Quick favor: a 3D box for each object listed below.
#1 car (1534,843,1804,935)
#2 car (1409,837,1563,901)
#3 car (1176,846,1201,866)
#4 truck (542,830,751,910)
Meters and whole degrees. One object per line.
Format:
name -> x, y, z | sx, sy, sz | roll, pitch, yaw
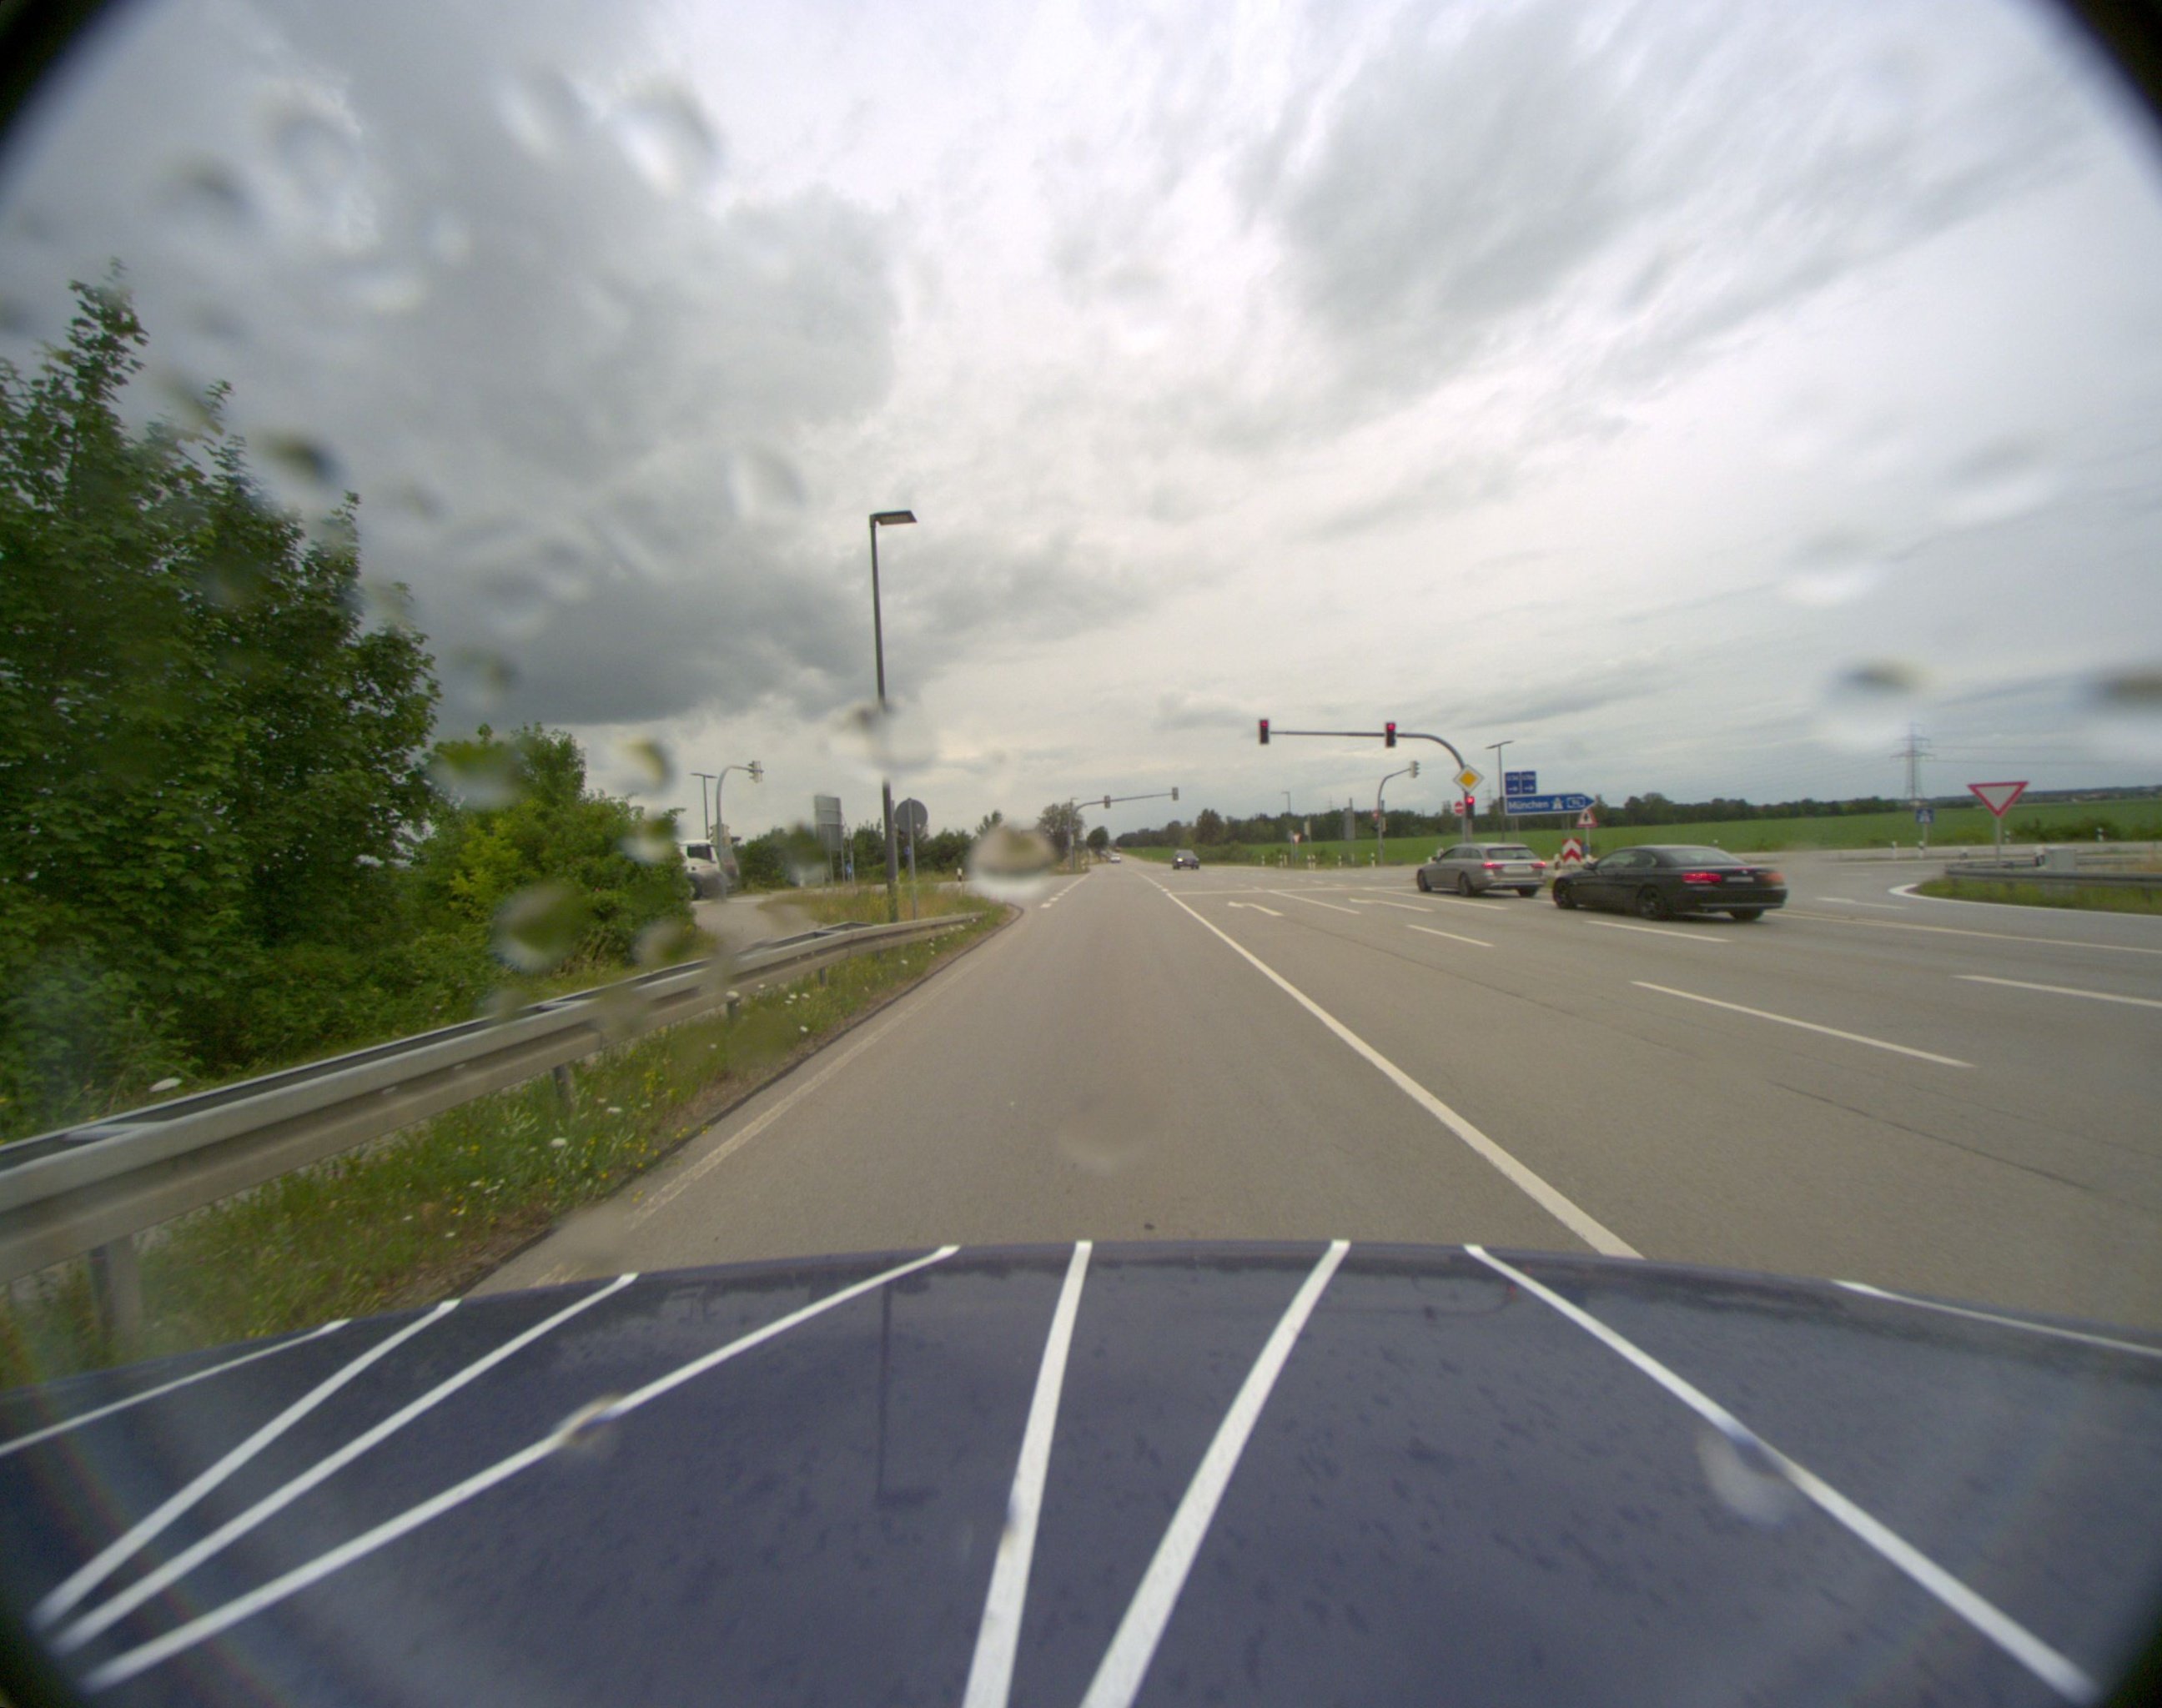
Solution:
car -> 11.004, 0.544, 14.757 | 1.711, 1.402, 4.674 | -2, 1, 2
car -> 11.402, 0.365, 21.863 | 1.919, 1.601, 4.949 | -1, 0, 2
car -> 9.714, 0.190, 68.969 | 1.997, 1.674, 5.001 | -2, 0, 7
truck -> -21.747, 0.736, 38.428 | 8.645, 3.389, 2.878 | -4, 2, -2
